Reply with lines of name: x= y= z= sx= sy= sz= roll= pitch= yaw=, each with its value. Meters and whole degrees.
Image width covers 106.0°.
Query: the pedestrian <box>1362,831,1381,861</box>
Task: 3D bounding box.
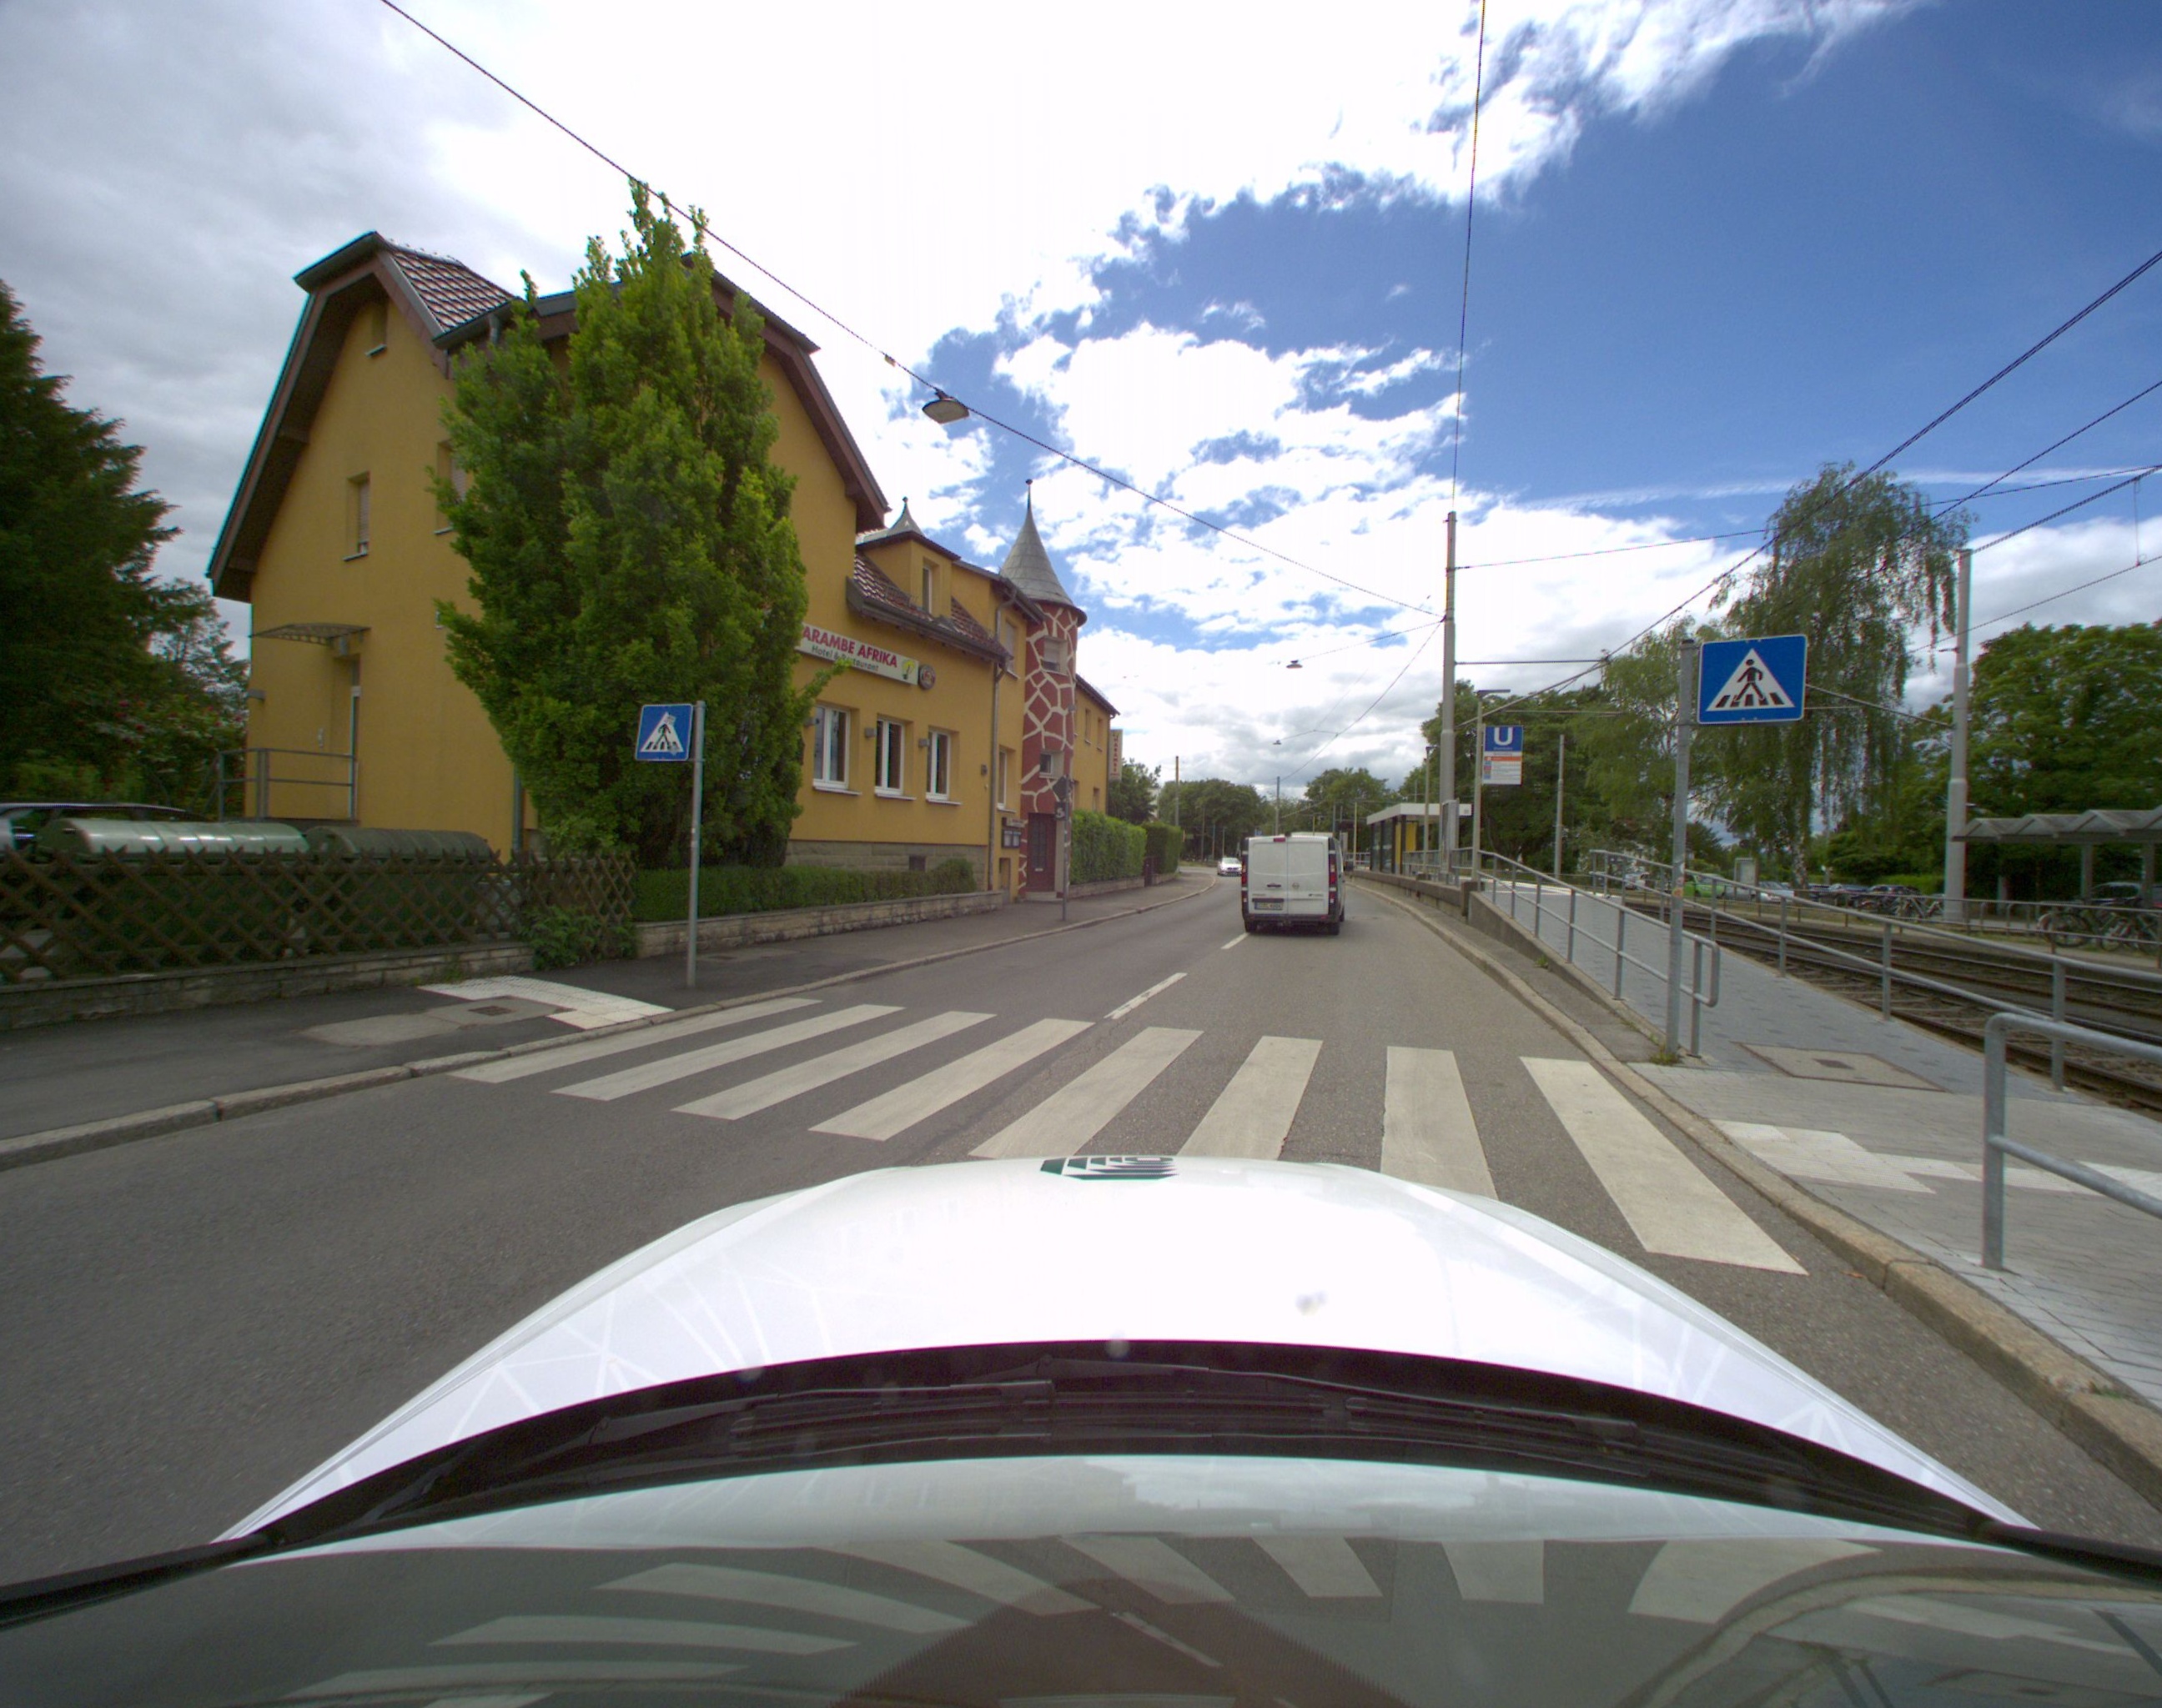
pedestrian: x=16.466 y=-0.466 z=46.134 sx=0.880 sy=1.671 sz=0.912 roll=2 pitch=0 yaw=12

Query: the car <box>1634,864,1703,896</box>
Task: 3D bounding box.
car: x=32.370 y=1.382 z=44.999 sx=1.743 sy=1.574 sz=4.116 roll=2 pitch=0 yaw=15

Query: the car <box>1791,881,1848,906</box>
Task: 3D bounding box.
car: x=48.452 y=2.563 z=53.520 sx=1.740 sy=1.488 sz=3.922 roll=1 pitch=-1 yaw=26

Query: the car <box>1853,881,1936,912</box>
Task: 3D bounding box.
car: x=43.098 y=2.196 z=43.266 sx=1.740 sy=1.488 sz=4.958 roll=1 pitch=-1 yaw=28

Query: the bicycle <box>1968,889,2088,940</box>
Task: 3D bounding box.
bicycle: x=22.060 y=1.388 z=19.005 sx=1.750 sy=1.041 sz=0.560 roll=2 pitch=0 yaw=21

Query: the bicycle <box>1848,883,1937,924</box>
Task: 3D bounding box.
bicycle: x=22.848 y=1.387 z=22.948 sx=1.754 sy=1.041 sz=0.558 roll=2 pitch=0 yaw=10

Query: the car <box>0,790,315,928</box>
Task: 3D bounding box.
car: x=-12.028 y=0.005 z=9.777 sx=1.707 sy=1.427 sz=3.698 roll=5 pitch=2 yaw=21

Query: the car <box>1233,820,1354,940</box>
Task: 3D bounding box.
car: x=4.767 y=0.490 z=17.776 sx=2.100 sy=2.134 sz=5.465 roll=3 pitch=0 yaw=18

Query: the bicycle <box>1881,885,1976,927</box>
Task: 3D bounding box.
bicycle: x=22.998 y=1.400 z=22.121 sx=1.753 sy=1.041 sz=0.559 roll=2 pitch=0 yaw=12

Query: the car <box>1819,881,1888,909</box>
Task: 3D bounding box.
car: x=45.764 y=2.382 z=48.353 sx=1.740 sy=1.488 sz=4.724 roll=1 pitch=-1 yaw=28

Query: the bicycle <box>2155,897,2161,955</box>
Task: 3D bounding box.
bicycle: x=20.302 y=1.337 z=14.263 sx=1.750 sy=1.041 sz=0.560 roll=2 pitch=0 yaw=21

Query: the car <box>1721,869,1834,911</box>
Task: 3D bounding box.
car: x=29.901 y=1.477 z=35.130 sx=2.048 sy=1.574 sz=4.278 roll=2 pitch=0 yaw=15

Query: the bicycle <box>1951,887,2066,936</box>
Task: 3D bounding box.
bicycle: x=22.323 y=1.369 z=19.628 sx=1.750 sy=1.041 sz=0.560 roll=2 pitch=0 yaw=21

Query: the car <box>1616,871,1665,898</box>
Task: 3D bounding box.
car: x=34.309 y=1.827 z=50.086 sx=1.824 sy=1.488 sz=4.527 roll=2 pitch=0 yaw=26

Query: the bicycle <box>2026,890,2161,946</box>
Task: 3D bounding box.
bicycle: x=21.465 y=1.349 z=17.293 sx=1.750 sy=1.041 sz=0.560 roll=2 pitch=0 yaw=21

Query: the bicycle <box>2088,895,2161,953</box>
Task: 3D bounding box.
bicycle: x=20.927 y=1.376 z=15.759 sx=1.750 sy=1.041 sz=0.560 roll=2 pitch=0 yaw=21

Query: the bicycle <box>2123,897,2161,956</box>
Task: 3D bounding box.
bicycle: x=20.562 y=1.370 z=14.930 sx=1.750 sy=1.041 sz=0.560 roll=2 pitch=0 yaw=21

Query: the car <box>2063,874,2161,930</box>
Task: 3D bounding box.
car: x=34.450 y=1.521 z=26.379 sx=1.798 sy=1.636 sz=4.869 roll=2 pitch=0 yaw=31

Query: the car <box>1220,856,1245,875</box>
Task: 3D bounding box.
car: x=12.238 y=0.924 z=66.042 sx=1.808 sy=1.419 sz=4.473 roll=-1 pitch=-1 yaw=8

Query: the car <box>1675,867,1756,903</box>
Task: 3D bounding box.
car: x=31.140 y=1.493 z=40.117 sx=1.717 sy=1.574 sz=4.016 roll=2 pitch=0 yaw=15
